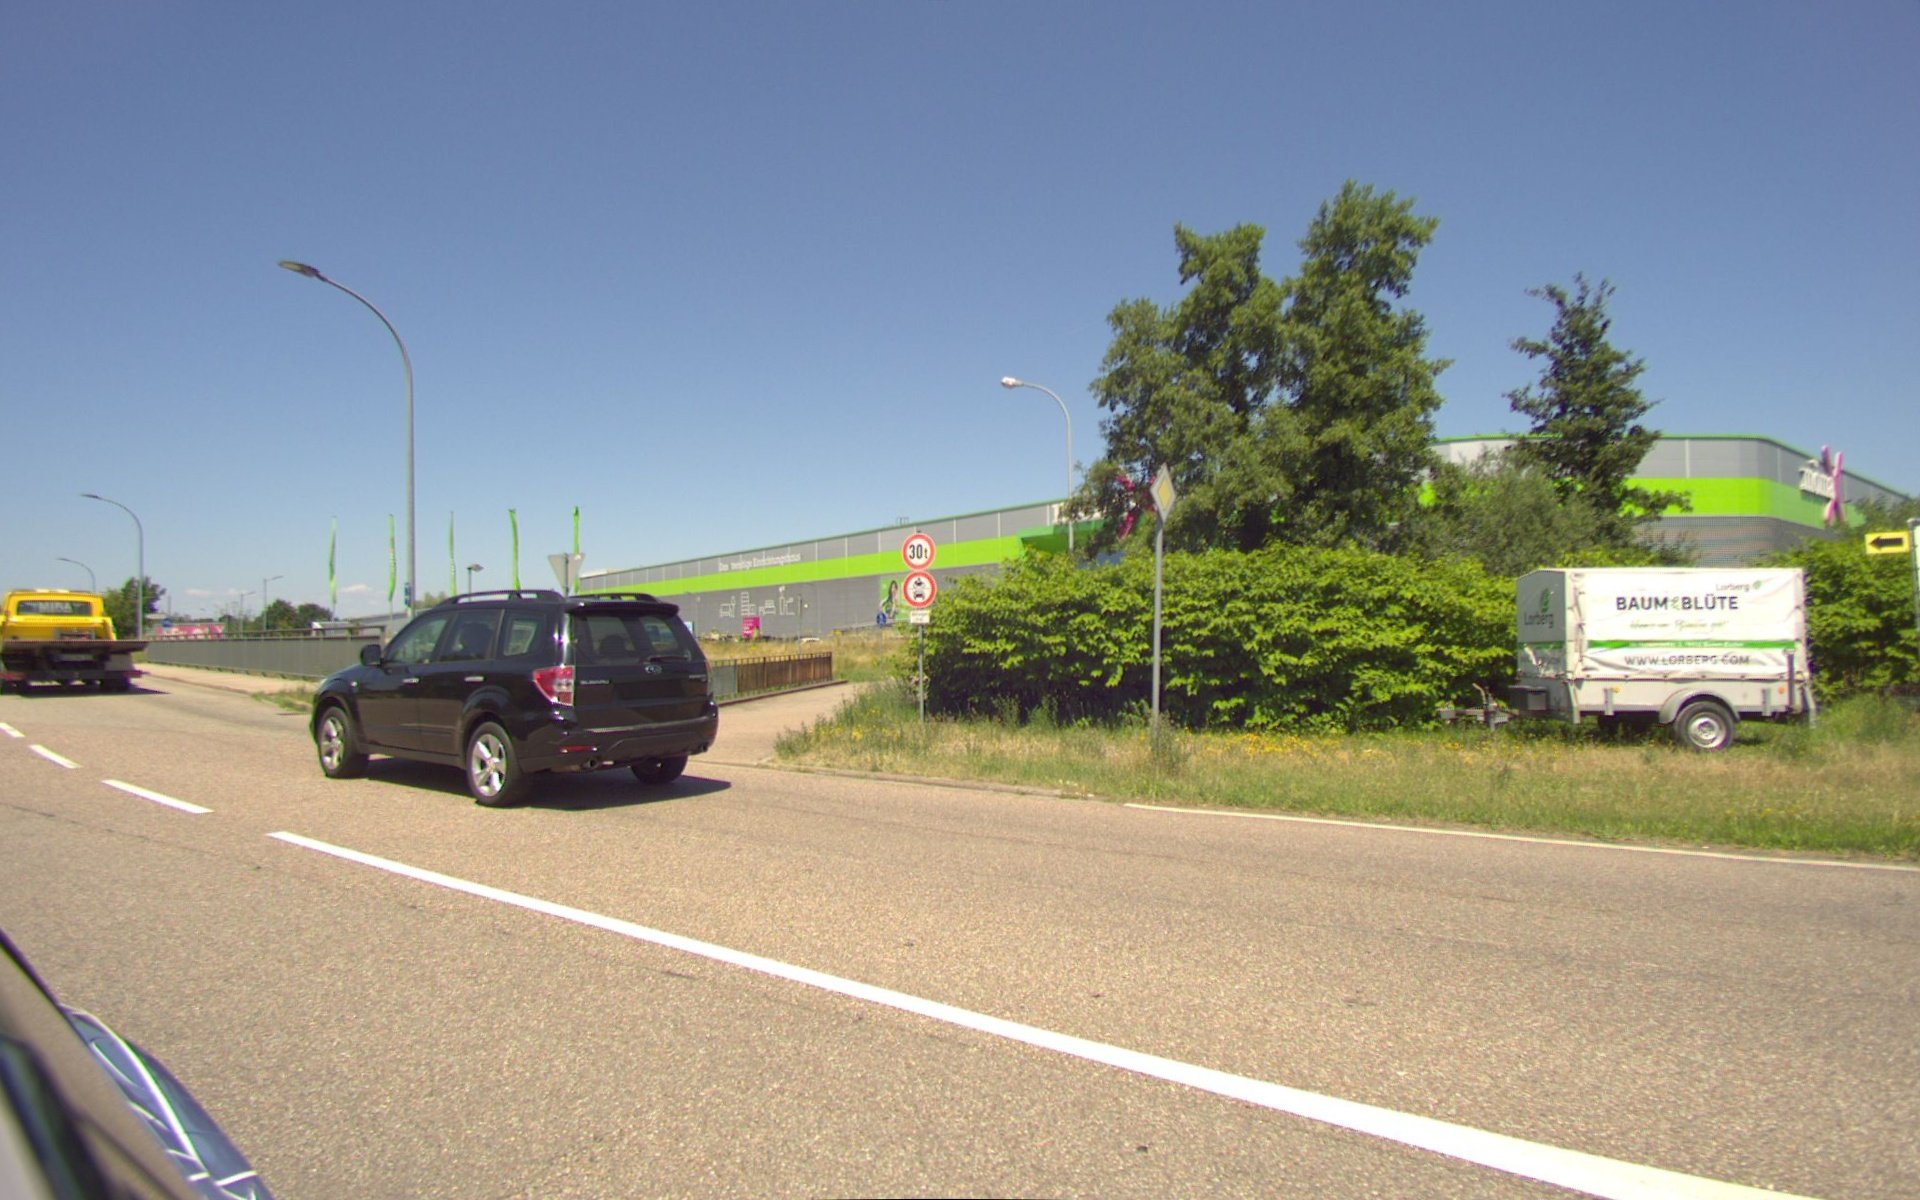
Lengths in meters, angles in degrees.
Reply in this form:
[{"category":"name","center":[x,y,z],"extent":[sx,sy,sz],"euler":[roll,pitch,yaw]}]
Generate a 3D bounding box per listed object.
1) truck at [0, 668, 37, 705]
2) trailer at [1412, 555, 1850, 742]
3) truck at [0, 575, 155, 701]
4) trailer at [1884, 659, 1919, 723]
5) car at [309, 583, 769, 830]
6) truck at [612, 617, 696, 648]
[{"category":"truck","center":[-116.818,10.642,124.541],"extent":[2.800,4.228,8.157],"euler":[-2,-2,-28]},{"category":"trailer","center":[7.838,0.572,12.212],"extent":[3.913,2.029,1.852],"euler":[-1,-1,8]},{"category":"truck","center":[-20.506,0.847,22.909],"extent":[9.052,2.355,2.285],"euler":[-2,-3,44]},{"category":"trailer","center":[13.009,1.084,11.832],"extent":[2.819,0.744,1.562],"euler":[-1,-1,8]},{"category":"car","center":[-3.801,0.820,8.968],"extent":[3.989,1.715,1.886],"euler":[-2,-3,34]},{"category":"truck","center":[-30.845,3.334,102.218],"extent":[7.656,2.704,2.966],"euler":[-3,-3,-6]}]
